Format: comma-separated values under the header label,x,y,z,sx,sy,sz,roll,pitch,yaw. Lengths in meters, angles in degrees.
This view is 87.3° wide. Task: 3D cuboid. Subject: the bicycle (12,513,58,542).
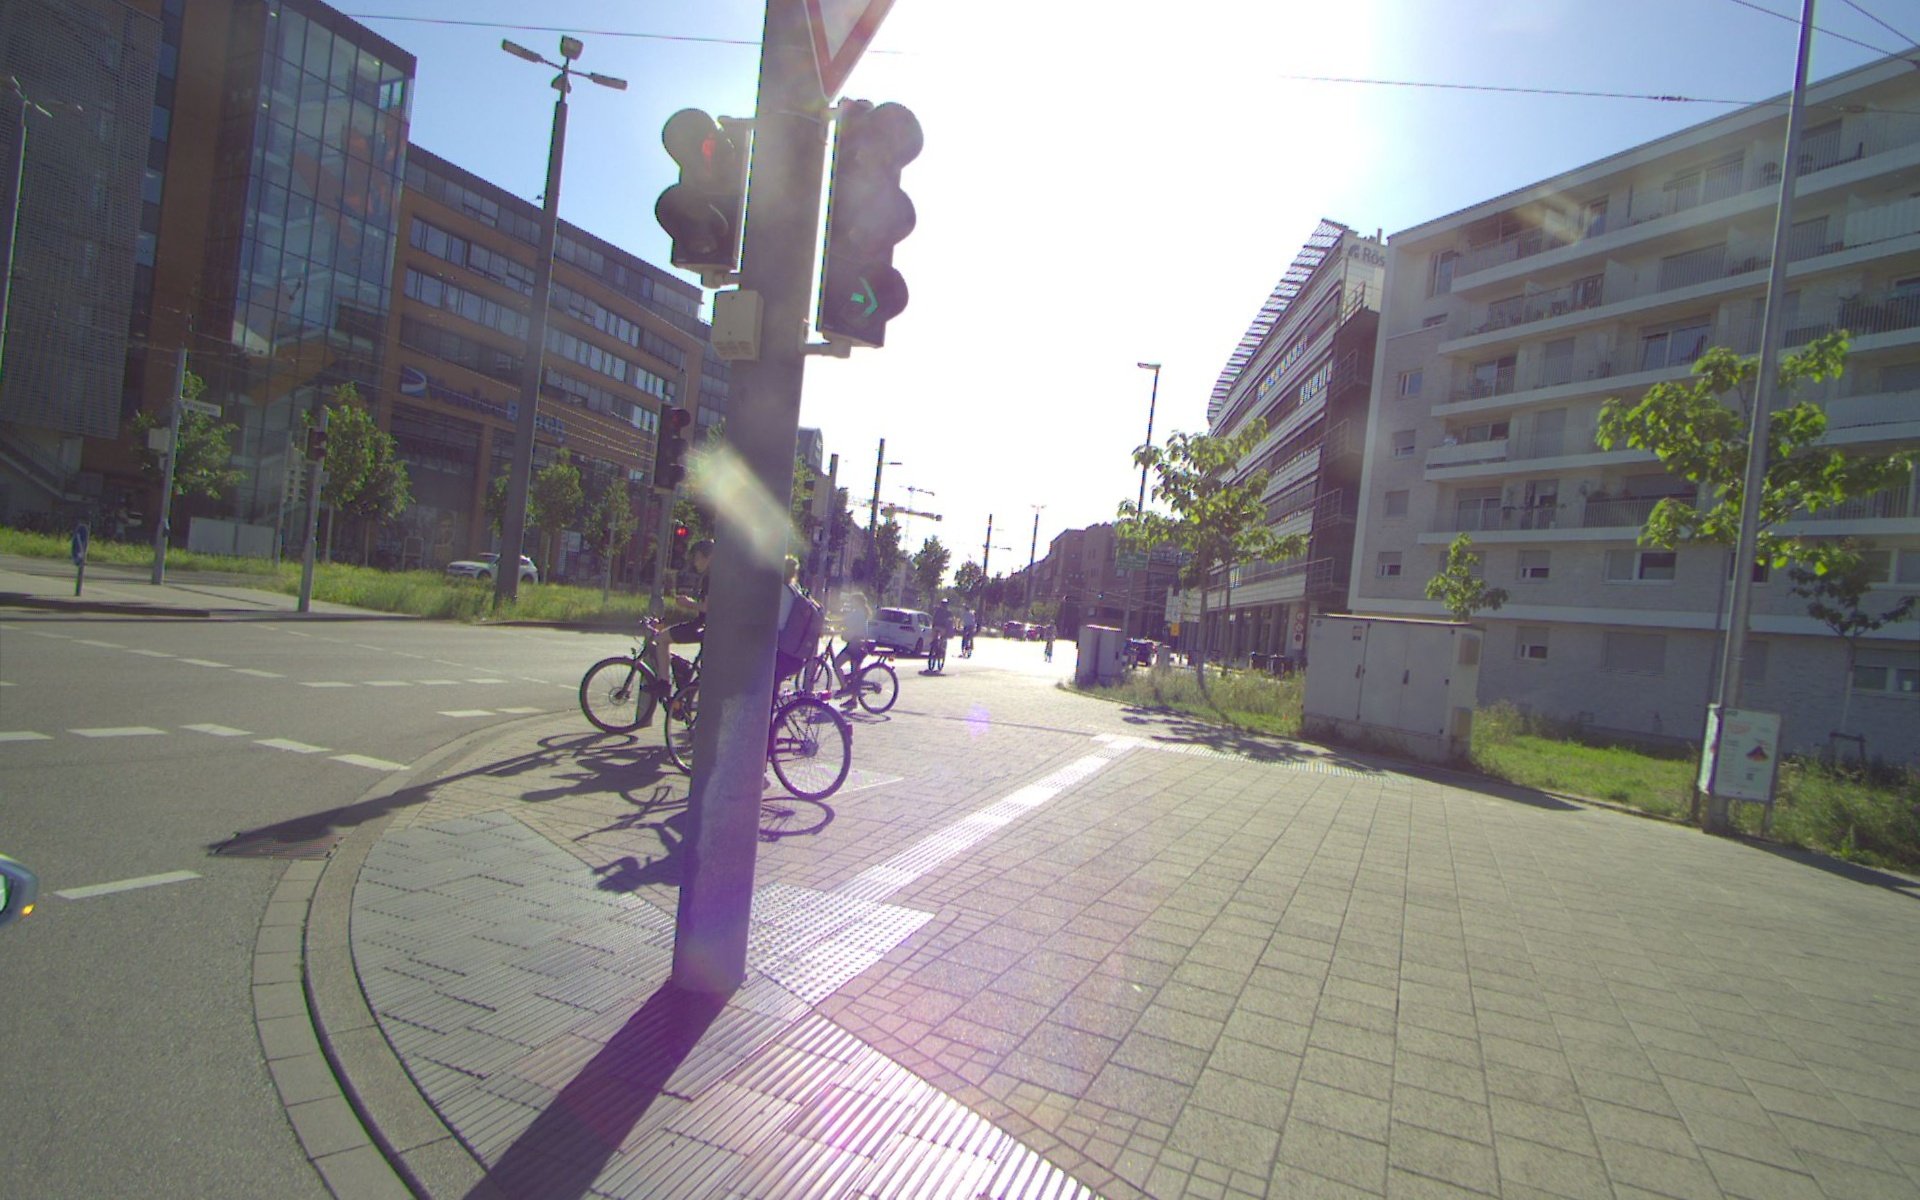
label,x,y,z,sx,sy,sz,roll,pitch,yaw
bicycle,-39.495,-3.090,42.946,2.140,0.966,0.493,8,0,21

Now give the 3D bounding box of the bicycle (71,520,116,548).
label,x,y,z,sx,sy,sz,roll,pitch,yaw
bicycle,-38.769,-2.963,45.028,2.140,0.966,0.493,8,0,21

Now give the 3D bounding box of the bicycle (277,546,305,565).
label,x,y,z,sx,sy,sz,roll,pitch,yaw
bicycle,-35.855,-2.407,53.913,1.424,0.829,0.446,8,0,21

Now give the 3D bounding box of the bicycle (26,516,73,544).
label,x,y,z,sx,sy,sz,roll,pitch,yaw
bicycle,-39.358,-3.037,43.488,2.140,0.966,0.493,8,0,21

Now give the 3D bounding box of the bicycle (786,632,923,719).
label,x,y,z,sx,sy,sz,roll,pitch,yaw
bicycle,-1.434,1.003,13.640,1.677,0.966,0.696,5,0,26

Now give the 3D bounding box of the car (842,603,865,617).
label,x,y,z,sx,sy,sz,roll,pitch,yaw
car,-12.111,1.183,115.045,1.963,1.350,4.791,7,-1,0

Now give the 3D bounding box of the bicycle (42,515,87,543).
label,x,y,z,sx,sy,sz,roll,pitch,yaw
bicycle,-39.257,-3.118,44.101,2.140,0.966,0.493,8,0,21

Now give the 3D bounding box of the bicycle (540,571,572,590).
label,x,y,z,sx,sy,sz,roll,pitch,yaw
bicycle,-29.879,-1.439,74.467,2.140,1.137,0.753,8,0,21

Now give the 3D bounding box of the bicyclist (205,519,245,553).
label,x,y,z,sx,sy,sz,roll,pitch,yaw
bicyclist,-34.835,-3.012,47.706,0.583,1.424,1.311,6,0,27

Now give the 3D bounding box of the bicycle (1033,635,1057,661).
label,x,y,z,sx,sy,sz,roll,pitch,yaw
bicycle,3.989,2.255,46.871,0.639,1.123,1.759,6,-2,18

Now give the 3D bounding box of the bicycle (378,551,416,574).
label,x,y,z,sx,sy,sz,roll,pitch,yaw
bicycle,-35.274,-2.363,63.054,2.140,1.137,0.753,8,0,21

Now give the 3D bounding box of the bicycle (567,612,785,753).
label,x,y,z,sx,sy,sz,roll,pitch,yaw
bicycle,-2.611,0.725,9.229,1.861,1.051,0.606,5,0,21

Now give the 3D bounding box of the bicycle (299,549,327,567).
label,x,y,z,sx,sy,sz,roll,pitch,yaw
bicycle,-35.361,-2.296,54.993,1.424,0.829,0.446,8,0,21

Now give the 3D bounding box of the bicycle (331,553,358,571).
label,x,y,z,sx,sy,sz,roll,pitch,yaw
bicycle,-34.487,-2.136,56.341,1.424,0.829,0.446,8,0,21

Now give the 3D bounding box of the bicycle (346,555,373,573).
label,x,y,z,sx,sy,sz,roll,pitch,yaw
bicycle,-34.218,-2.071,57.311,1.424,0.829,0.446,8,0,21

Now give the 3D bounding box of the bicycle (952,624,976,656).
label,x,y,z,sx,sy,sz,roll,pitch,yaw
bicycle,0.166,1.482,37.778,0.676,1.082,2.697,8,-1,1

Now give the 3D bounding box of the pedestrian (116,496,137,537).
label,x,y,z,sx,sy,sz,roll,pitch,yaw
pedestrian,-41.276,-4.127,49.809,0.368,1.937,0.540,6,-1,34

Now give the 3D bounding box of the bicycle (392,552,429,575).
label,x,y,z,sx,sy,sz,roll,pitch,yaw
bicycle,-34.929,-2.316,63.946,2.140,1.137,0.753,8,0,21

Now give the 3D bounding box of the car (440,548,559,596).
label,x,y,z,sx,sy,sz,roll,pitch,yaw
car,-22.266,-1.304,48.932,1.780,1.672,5.548,6,-1,19

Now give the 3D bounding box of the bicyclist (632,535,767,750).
label,x,y,z,sx,sy,sz,roll,pitch,yaw
bicyclist,-2.362,0.372,9.144,0.889,1.821,0.549,5,1,21

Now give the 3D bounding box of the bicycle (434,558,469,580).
label,x,y,z,sx,sy,sz,roll,pitch,yaw
bicycle,-33.507,-2.067,66.285,2.140,1.137,0.753,8,0,21

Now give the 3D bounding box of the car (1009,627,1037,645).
label,x,y,z,sx,sy,sz,roll,pitch,yaw
car,5.773,3.325,92.444,1.699,1.466,4.525,6,-1,13

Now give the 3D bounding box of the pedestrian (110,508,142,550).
label,x,y,z,sx,sy,sz,roll,pitch,yaw
pedestrian,-37.201,-3.156,44.879,0.586,1.705,0.779,7,0,13

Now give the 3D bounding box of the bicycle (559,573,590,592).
label,x,y,z,sx,sy,sz,roll,pitch,yaw
bicycle,-29.170,-1.333,76.142,2.140,1.137,0.753,8,0,21

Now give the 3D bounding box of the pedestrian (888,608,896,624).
label,x,y,z,sx,sy,sz,roll,pitch,yaw
pedestrian,-7.990,1.853,117.756,0.575,1.853,0.494,6,0,-27

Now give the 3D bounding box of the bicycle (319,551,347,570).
label,x,y,z,sx,sy,sz,roll,pitch,yaw
bicycle,-34.779,-2.185,55.809,1.424,0.829,0.446,8,0,21

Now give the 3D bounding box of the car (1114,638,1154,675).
label,x,y,z,sx,sy,sz,roll,pitch,yaw
car,8.733,2.810,50.351,1.694,1.542,4.402,7,-1,11

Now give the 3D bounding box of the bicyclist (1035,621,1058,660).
label,x,y,z,sx,sy,sz,roll,pitch,yaw
bicyclist,4.041,1.893,46.959,0.639,1.774,1.045,6,1,18

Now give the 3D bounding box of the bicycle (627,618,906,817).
label,x,y,z,sx,sy,sz,roll,pitch,yaw
bicycle,-1.442,0.787,7.301,1.979,1.119,0.695,5,0,33

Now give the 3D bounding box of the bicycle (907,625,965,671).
label,x,y,z,sx,sy,sz,roll,pitch,yaw
bicycle,-0.600,1.243,26.023,0.813,1.049,1.892,8,0,17

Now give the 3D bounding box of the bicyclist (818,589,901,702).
label,x,y,z,sx,sy,sz,roll,pitch,yaw
bicyclist,-1.355,0.603,13.584,0.813,1.421,0.589,5,1,26

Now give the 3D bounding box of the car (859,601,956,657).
label,x,y,z,sx,sy,sz,roll,pitch,yaw
car,-1.618,0.981,32.485,1.745,1.420,4.296,9,-1,15

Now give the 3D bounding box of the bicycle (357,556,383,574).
label,x,y,z,sx,sy,sz,roll,pitch,yaw
bicycle,-34.041,-2.015,58.050,1.424,0.829,0.446,8,0,21

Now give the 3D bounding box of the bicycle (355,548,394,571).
label,x,y,z,sx,sy,sz,roll,pitch,yaw
bicycle,-35.902,-2.496,61.666,2.140,1.137,0.753,8,0,21

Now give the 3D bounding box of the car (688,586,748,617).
label,x,y,z,sx,sy,sz,roll,pitch,yaw
car,-19.618,0.130,81.801,2.186,2.038,5.259,7,-1,17

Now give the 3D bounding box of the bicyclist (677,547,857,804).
label,x,y,z,sx,sy,sz,roll,pitch,yaw
bicyclist,-1.400,0.516,7.279,0.987,1.675,0.594,7,1,32

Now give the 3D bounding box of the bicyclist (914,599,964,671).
label,x,y,z,sx,sy,sz,roll,pitch,yaw
bicyclist,-0.527,0.904,25.978,0.794,1.713,1.052,8,0,17

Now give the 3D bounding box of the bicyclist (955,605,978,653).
label,x,y,z,sx,sy,sz,roll,pitch,yaw
bicyclist,0.237,1.073,37.768,0.608,1.690,1.020,8,0,1

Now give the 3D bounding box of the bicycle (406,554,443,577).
label,x,y,z,sx,sy,sz,roll,pitch,yaw
bicycle,-34.438,-2.214,64.725,2.140,1.137,0.753,8,0,21

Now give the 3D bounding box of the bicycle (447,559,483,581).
label,x,y,z,sx,sy,sz,roll,pitch,yaw
bicycle,-33.060,-1.998,67.190,2.140,1.137,0.753,8,0,21

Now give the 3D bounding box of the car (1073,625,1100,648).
label,x,y,z,sx,sy,sz,roll,pitch,yaw
car,11.021,3.157,87.509,1.754,1.723,4.141,8,0,13
